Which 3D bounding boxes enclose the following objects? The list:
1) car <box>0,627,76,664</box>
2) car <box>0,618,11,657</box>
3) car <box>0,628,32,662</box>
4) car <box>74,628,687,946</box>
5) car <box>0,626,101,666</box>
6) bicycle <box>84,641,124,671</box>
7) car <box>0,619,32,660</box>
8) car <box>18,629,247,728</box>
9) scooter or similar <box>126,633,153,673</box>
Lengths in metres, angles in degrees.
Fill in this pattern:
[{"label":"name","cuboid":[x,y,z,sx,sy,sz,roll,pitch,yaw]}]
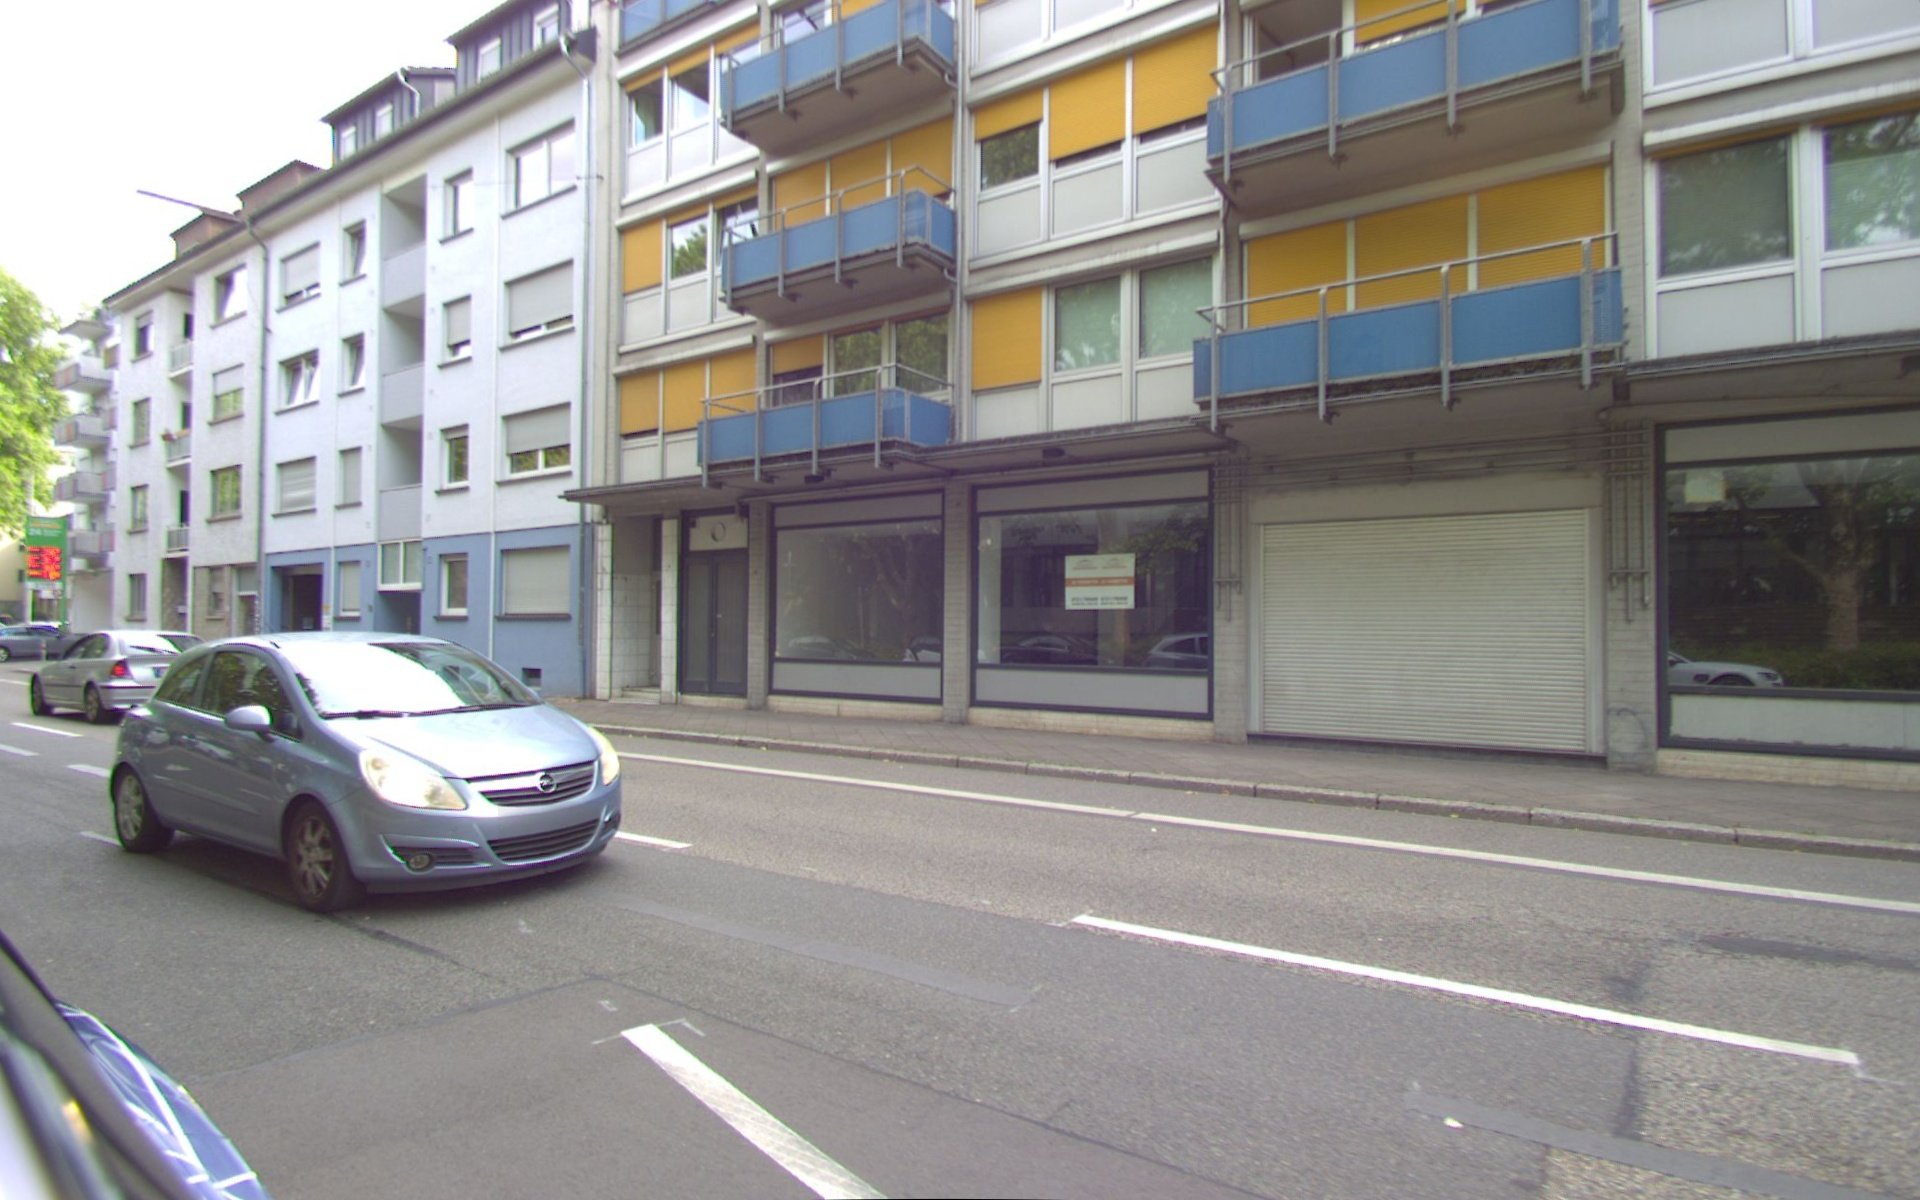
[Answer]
[{"label":"car","cuboid":[-41.037,1.978,43.476,1.906,1.462,4.264,-1,0,35]},{"label":"car","cuboid":[-50.595,1.959,50.285,1.989,1.949,4.725,-2,0,35]},{"label":"car","cuboid":[-43.443,2.023,44.012,1.869,1.462,4.235,-1,0,35]},{"label":"car","cuboid":[-3.848,0.898,6.482,4.241,1.431,1.698,-1,-2,34]},{"label":"car","cuboid":[-38.930,1.907,42.435,1.833,1.525,4.115,-1,0,35]},{"label":"bicycle","cuboid":[-28.458,1.836,33.645,1.659,0.957,0.592,-1,-2,35]},{"label":"car","cuboid":[-45.285,1.862,46.080,1.920,1.862,4.175,-2,0,35]},{"label":"car","cuboid":[-13.578,1.221,16.551,4.087,1.438,1.743,-1,-4,34]},{"label":"scooter or similar","cuboid":[-26.145,1.676,32.253,1.199,1.231,0.346,-1,-2,35]}]
